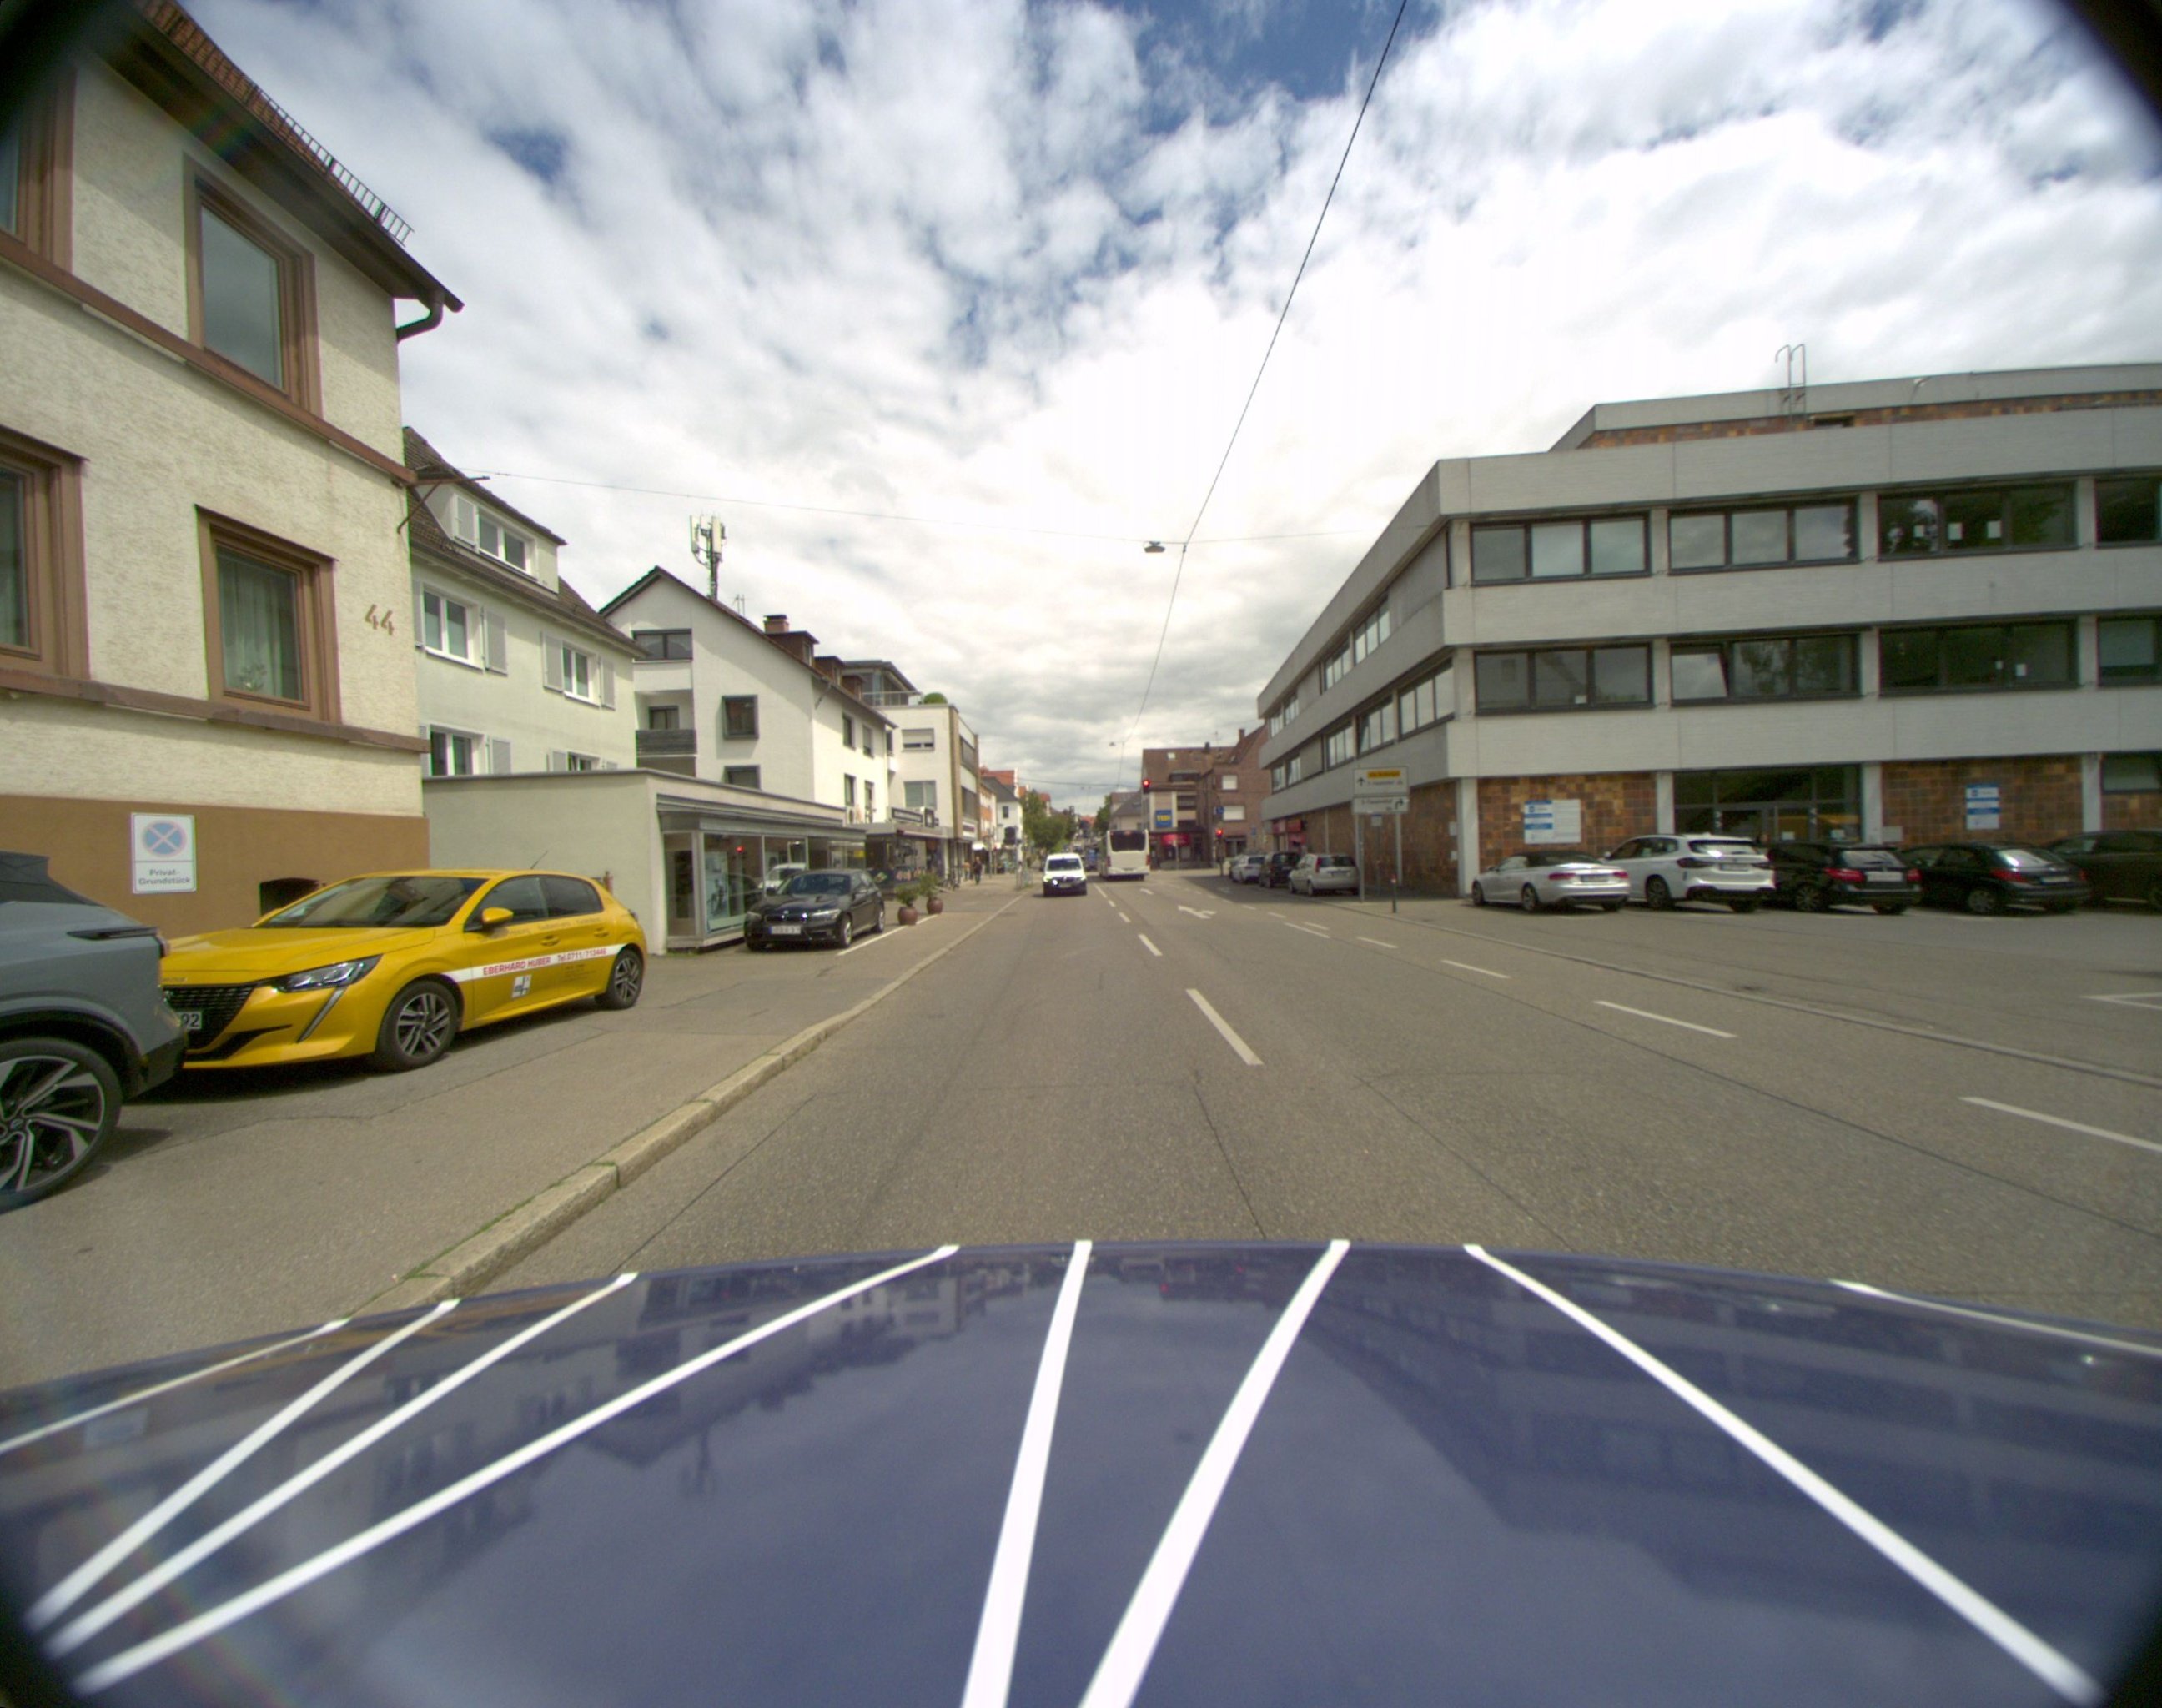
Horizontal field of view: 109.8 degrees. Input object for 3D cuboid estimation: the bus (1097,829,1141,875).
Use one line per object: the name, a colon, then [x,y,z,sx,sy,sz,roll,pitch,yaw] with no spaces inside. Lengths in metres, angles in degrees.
bus: [2.803,-0.165,58.532,2.689,3.145,10.183,-2,0,-1]

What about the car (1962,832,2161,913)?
car: [21.882,0.342,15.854,1.926,1.569,4.497,-2,0,3]

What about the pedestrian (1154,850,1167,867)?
pedestrian: [7.836,0.446,75.092,0.908,1.713,0.849,-2,1,-42]

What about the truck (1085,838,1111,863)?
truck: [2.174,-0.476,100.884,2.861,3.075,8.086,-2,0,-3]

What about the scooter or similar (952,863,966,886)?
scooter or similar: [-6.954,1.170,43.454,0.690,1.260,1.184,-1,1,-13]

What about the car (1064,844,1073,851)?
car: [-2.986,-1.579,185.267,2.150,1.747,3.973,-1,0,0]

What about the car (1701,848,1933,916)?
car: [16.238,0.564,17.046,1.767,1.323,3.605,-2,0,2]

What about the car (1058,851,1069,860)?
car: [-3.634,0.237,157.866,2.150,1.747,3.973,-1,0,0]

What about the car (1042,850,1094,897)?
car: [-0.637,0.795,32.991,2.000,1.797,4.764,-3,0,-2]

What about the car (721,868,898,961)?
car: [-5.093,1.050,14.985,1.973,1.439,4.534,-1,0,-2]

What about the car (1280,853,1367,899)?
car: [8.446,0.722,26.824,1.726,1.413,4.148,-3,0,1]

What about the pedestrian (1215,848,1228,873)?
pedestrian: [9.539,0.446,51.778,0.719,1.635,0.682,-3,0,4]

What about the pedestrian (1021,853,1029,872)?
pedestrian: [-5.467,0.793,74.201,0.581,1.820,0.882,0,1,16]

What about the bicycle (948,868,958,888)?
bicycle: [-6.865,1.296,40.740,0.476,1.022,1.634,-1,0,-10]

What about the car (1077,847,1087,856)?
car: [0.267,-0.584,164.038,1.954,1.866,4.875,-2,1,-2]

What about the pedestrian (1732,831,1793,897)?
pedestrian: [17.819,0.255,19.892,0.719,1.662,0.995,0,1,5]

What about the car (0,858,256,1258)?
car: [-5.253,0.824,1.685,1.865,1.602,4.585,-1,0,-1]

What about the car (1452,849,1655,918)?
car: [10.768,0.597,17.834,1.955,1.350,4.856,-2,0,4]

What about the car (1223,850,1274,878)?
car: [9.737,0.572,44.368,2.049,1.467,4.285,-3,0,1]

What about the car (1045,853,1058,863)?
car: [-4.977,0.677,127.346,1.999,1.654,4.000,-2,0,-1]

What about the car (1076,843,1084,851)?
car: [-0.237,-1.639,184.521,1.819,1.919,4.112,-1,0,0]

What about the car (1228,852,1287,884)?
car: [8.932,0.647,38.928,2.049,1.436,4.953,-3,0,3]

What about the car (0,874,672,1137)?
car: [-5.527,0.940,6.473,1.882,1.438,4.308,-1,-2,-2]

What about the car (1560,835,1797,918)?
car: [13.391,0.454,17.537,1.955,1.610,4.932,1,0,6]

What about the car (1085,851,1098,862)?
car: [1.745,0.431,127.418,1.950,1.810,4.278,-2,0,-1]

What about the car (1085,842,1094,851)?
car: [2.134,-1.757,189.393,2.111,2.109,4.765,-2,0,-1]

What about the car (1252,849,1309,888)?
car: [8.649,0.615,33.163,1.740,1.547,3.057,-3,0,3]

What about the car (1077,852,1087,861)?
car: [0.187,0.487,145.715,1.681,1.626,2.833,-2,0,-2]

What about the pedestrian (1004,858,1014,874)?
pedestrian: [-6.934,1.170,73.336,0.779,1.517,0.819,-1,0,2]

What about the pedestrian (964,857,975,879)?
pedestrian: [-7.718,0.992,52.633,0.681,1.490,0.720,-2,1,-1]

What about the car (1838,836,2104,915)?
car: [19.607,0.432,17.008,1.767,1.537,3.605,-2,0,2]

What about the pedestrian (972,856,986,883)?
pedestrian: [-6.419,0.946,47.816,0.797,1.661,0.807,-1,0,-1]

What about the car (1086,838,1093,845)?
car: [2.810,-4.058,243.428,1.982,1.985,5.027,-1,0,-2]

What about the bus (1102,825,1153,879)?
bus: [2.895,-0.142,49.470,2.723,3.145,8.067,-2,0,0]

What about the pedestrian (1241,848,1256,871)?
pedestrian: [11.432,0.369,51.906,0.820,1.545,0.846,-3,0,5]
